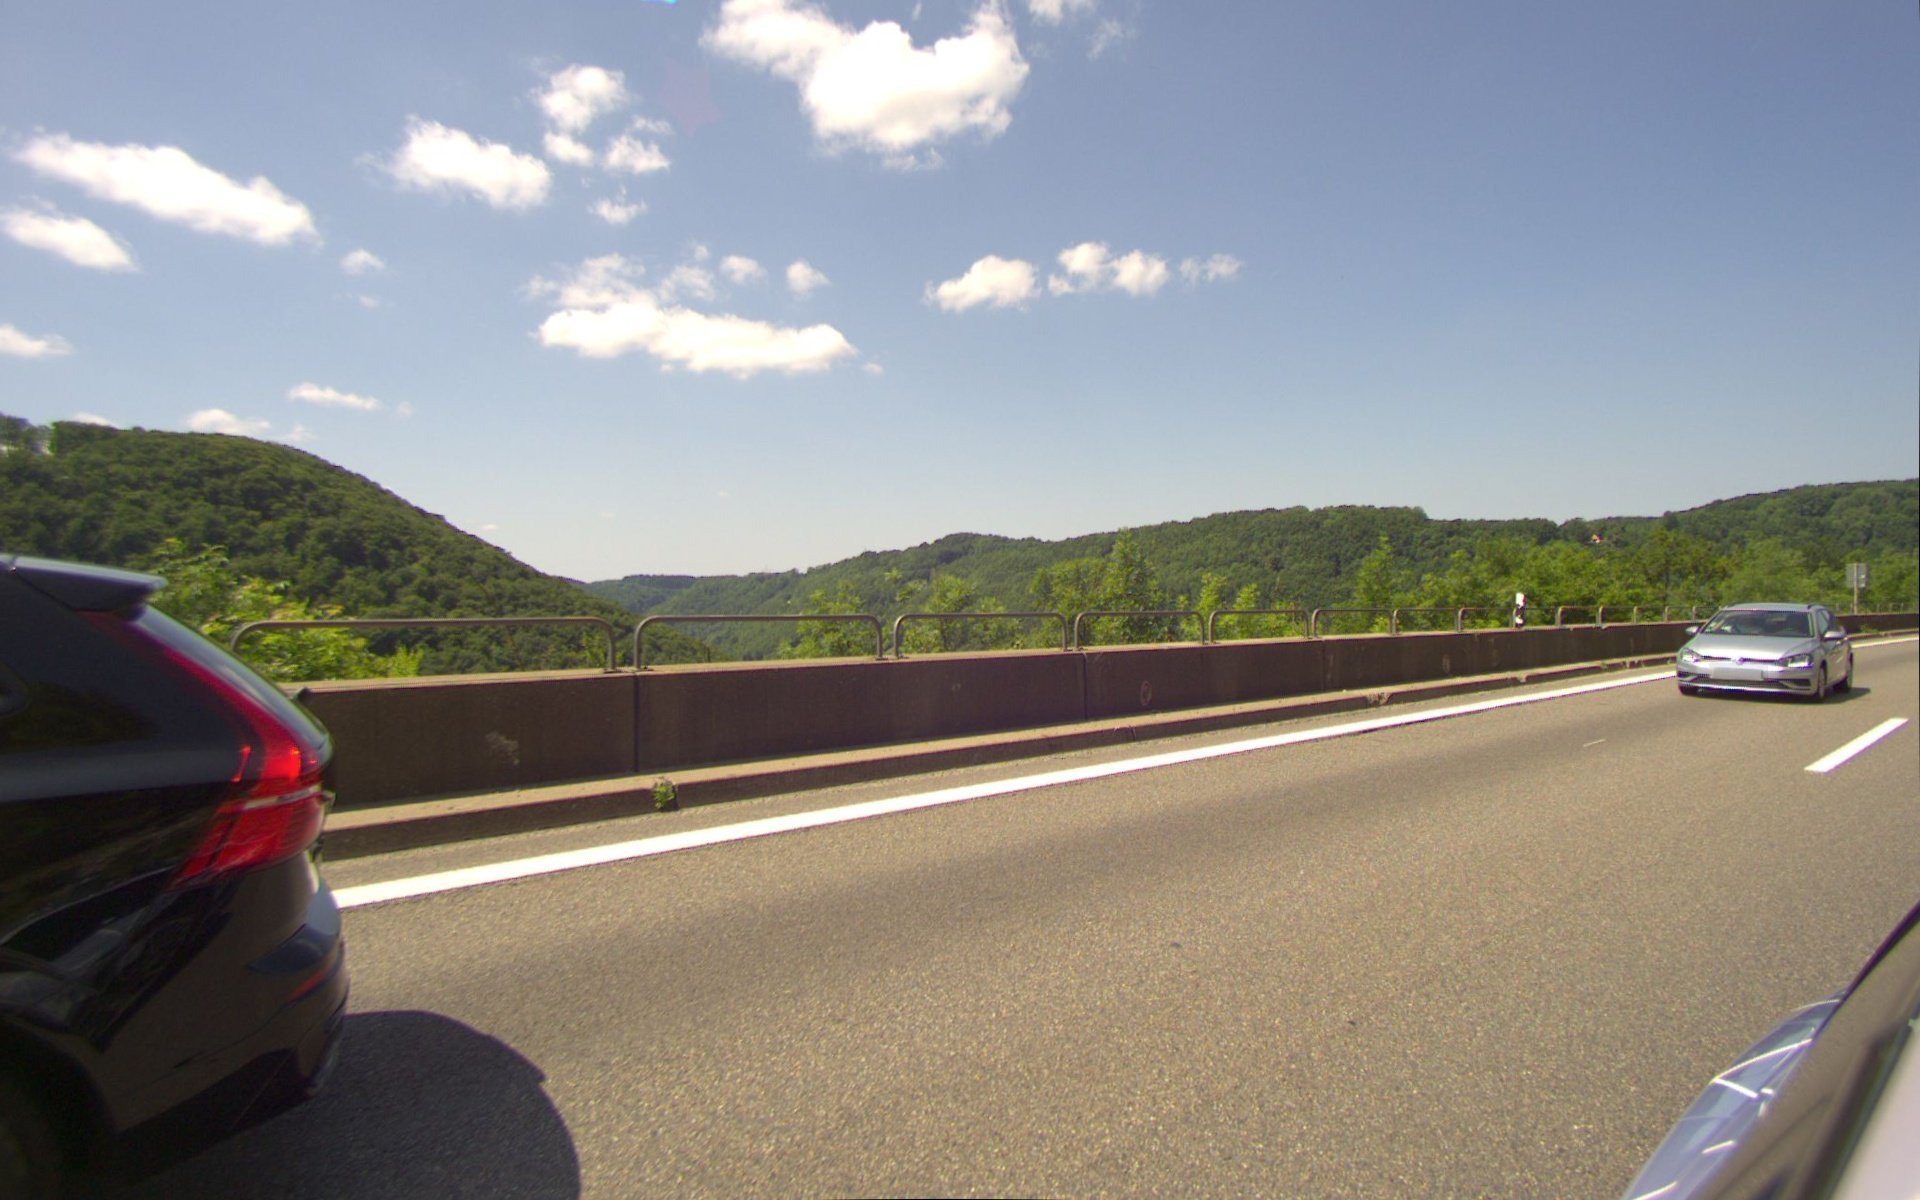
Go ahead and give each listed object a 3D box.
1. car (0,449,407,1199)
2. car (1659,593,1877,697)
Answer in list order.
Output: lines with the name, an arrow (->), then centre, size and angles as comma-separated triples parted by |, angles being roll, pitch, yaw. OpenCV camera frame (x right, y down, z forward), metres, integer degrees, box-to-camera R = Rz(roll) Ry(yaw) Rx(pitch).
car -> -3.544, 0.602, 1.407 | 4.582, 1.654, 1.837 | -1, 0, -42
car -> 13.074, 0.617, 16.298 | 4.218, 1.395, 1.972 | -1, 1, -40
